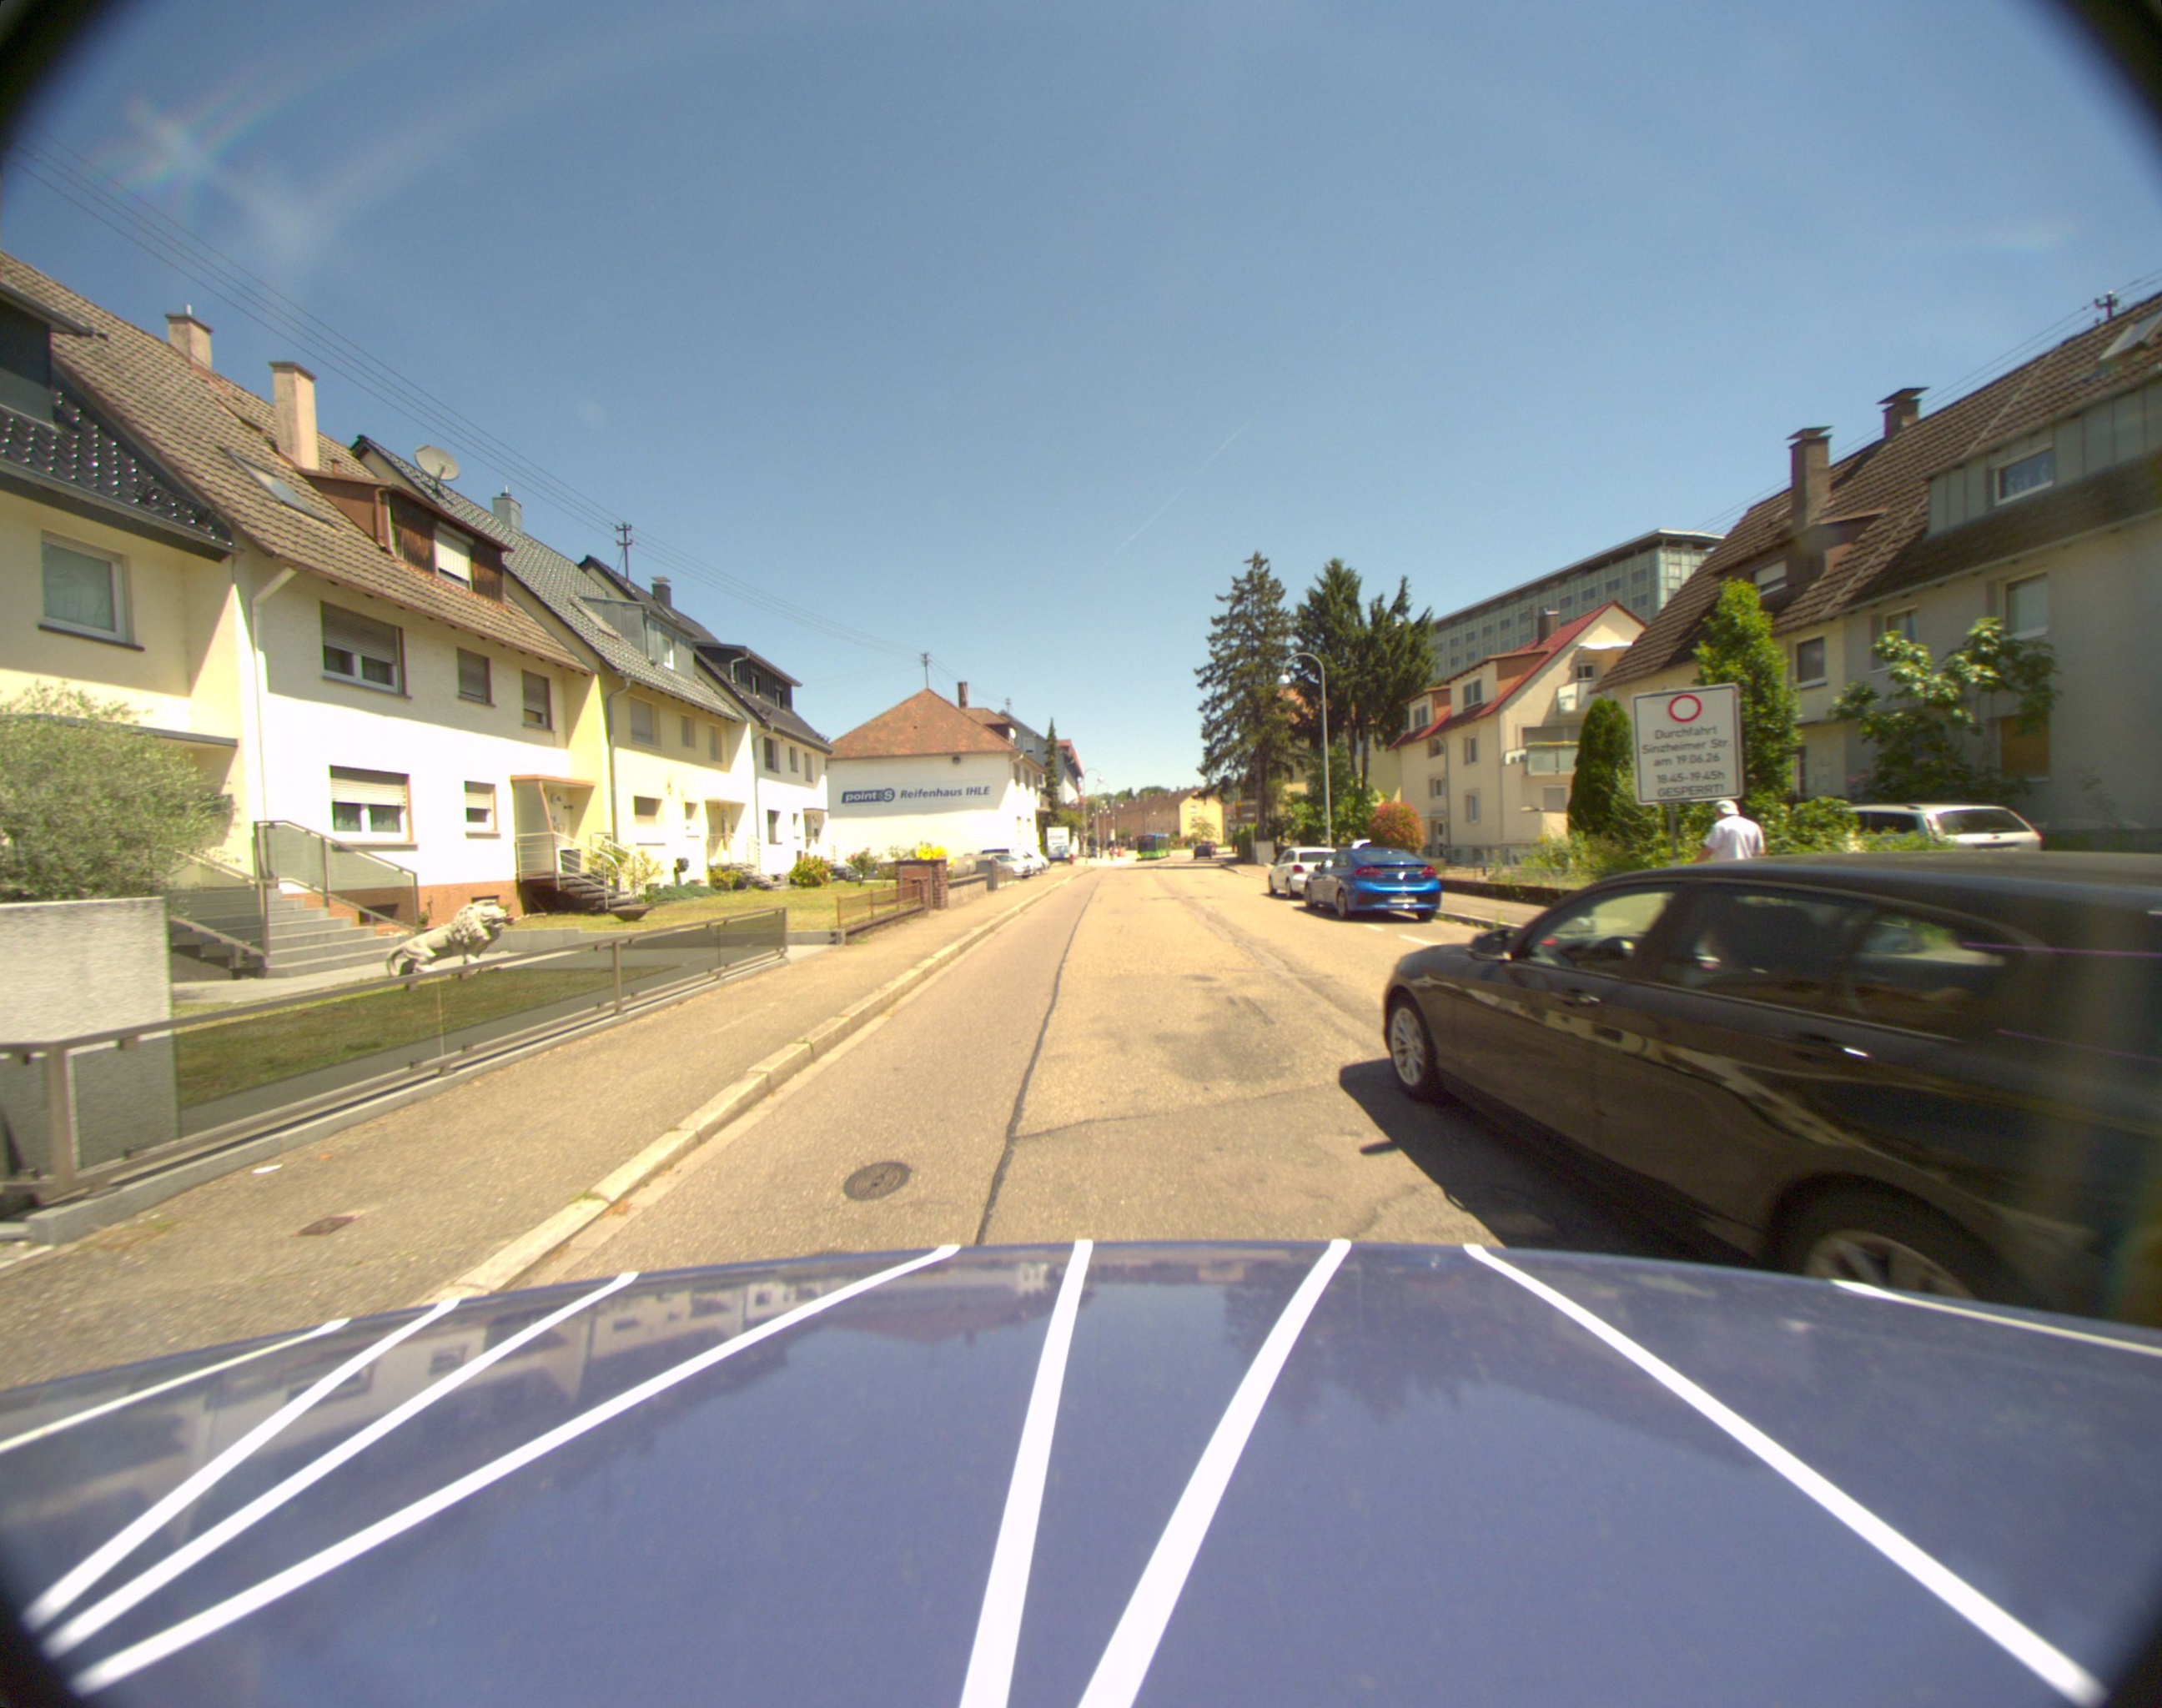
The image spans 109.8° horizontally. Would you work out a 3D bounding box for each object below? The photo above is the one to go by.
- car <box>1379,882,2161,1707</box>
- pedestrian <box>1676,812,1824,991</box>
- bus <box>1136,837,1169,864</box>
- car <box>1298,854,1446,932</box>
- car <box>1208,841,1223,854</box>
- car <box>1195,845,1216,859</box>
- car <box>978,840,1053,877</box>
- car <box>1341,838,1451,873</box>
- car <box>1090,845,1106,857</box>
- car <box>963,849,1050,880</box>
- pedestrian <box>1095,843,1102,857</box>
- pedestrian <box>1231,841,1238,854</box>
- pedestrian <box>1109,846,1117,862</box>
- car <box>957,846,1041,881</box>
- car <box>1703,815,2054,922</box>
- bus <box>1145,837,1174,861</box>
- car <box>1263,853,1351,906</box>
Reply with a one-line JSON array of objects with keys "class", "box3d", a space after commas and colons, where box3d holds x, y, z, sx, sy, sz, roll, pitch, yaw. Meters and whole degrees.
[{"class": "car", "box3d": [2.655, 0.901, 2.619, 1.736, 1.409, 3.999, 0, 1, 1]}, {"class": "pedestrian", "box3d": [7.654, 0.511, 8.751, 0.691, 1.879, 1.019, -6, 1, 6]}, {"class": "bus", "box3d": [8.903, -0.528, 93.430, 2.908, 3.062, 12.571, -2, 1, 11]}, {"class": "car", "box3d": [6.079, 0.729, 16.433, 1.773, 1.430, 4.363, 0, 0, 4]}, {"class": "car", "box3d": [16.765, -0.812, 94.531, 1.809, 1.480, 4.391, 0, -1, 10]}, {"class": "car", "box3d": [13.238, -0.242, 80.644, 1.743, 1.496, 4.147, 0, 1, 16]}, {"class": "car", "box3d": [-3.933, 0.270, 46.151, 4.302, 1.820, 1.739, -5, 0, -4]}, {"class": "car", "box3d": [14.953, 0.056, 36.306, 4.477, 1.433, 1.848, -3, 1, 8]}, {"class": "car", "box3d": [2.233, -0.438, 97.397, 1.761, 1.505, 3.742, 2, 1, 6]}, {"class": "car", "box3d": [-4.234, 0.605, 43.610, 4.650, 1.400, 1.769, -5, 0, 6]}, {"class": "pedestrian", "box3d": [1.972, -0.435, 85.412, 0.614, 1.606, 0.751, 1, 1, 21]}, {"class": "pedestrian", "box3d": [19.676, -0.840, 97.486, 0.614, 1.555, 0.824, -7, 0, 9]}, {"class": "pedestrian", "box3d": [3.651, 0.024, 87.516, 0.750, 1.795, 0.615, 1, 2, -10]}, {"class": "car", "box3d": [-4.441, 0.523, 40.666, 4.293, 1.539, 1.759, -4, 2, 37]}, {"class": "car", "box3d": [13.629, 0.115, 13.473, 1.773, 1.500, 4.361, -3, 3, 3]}, {"class": "bus", "box3d": [11.044, -0.731, 105.826, 2.926, 3.044, 12.571, -2, 1, 11]}, {"class": "car", "box3d": [6.557, 0.690, 22.402, 1.582, 1.415, 3.941, 1, 0, 3]}]
